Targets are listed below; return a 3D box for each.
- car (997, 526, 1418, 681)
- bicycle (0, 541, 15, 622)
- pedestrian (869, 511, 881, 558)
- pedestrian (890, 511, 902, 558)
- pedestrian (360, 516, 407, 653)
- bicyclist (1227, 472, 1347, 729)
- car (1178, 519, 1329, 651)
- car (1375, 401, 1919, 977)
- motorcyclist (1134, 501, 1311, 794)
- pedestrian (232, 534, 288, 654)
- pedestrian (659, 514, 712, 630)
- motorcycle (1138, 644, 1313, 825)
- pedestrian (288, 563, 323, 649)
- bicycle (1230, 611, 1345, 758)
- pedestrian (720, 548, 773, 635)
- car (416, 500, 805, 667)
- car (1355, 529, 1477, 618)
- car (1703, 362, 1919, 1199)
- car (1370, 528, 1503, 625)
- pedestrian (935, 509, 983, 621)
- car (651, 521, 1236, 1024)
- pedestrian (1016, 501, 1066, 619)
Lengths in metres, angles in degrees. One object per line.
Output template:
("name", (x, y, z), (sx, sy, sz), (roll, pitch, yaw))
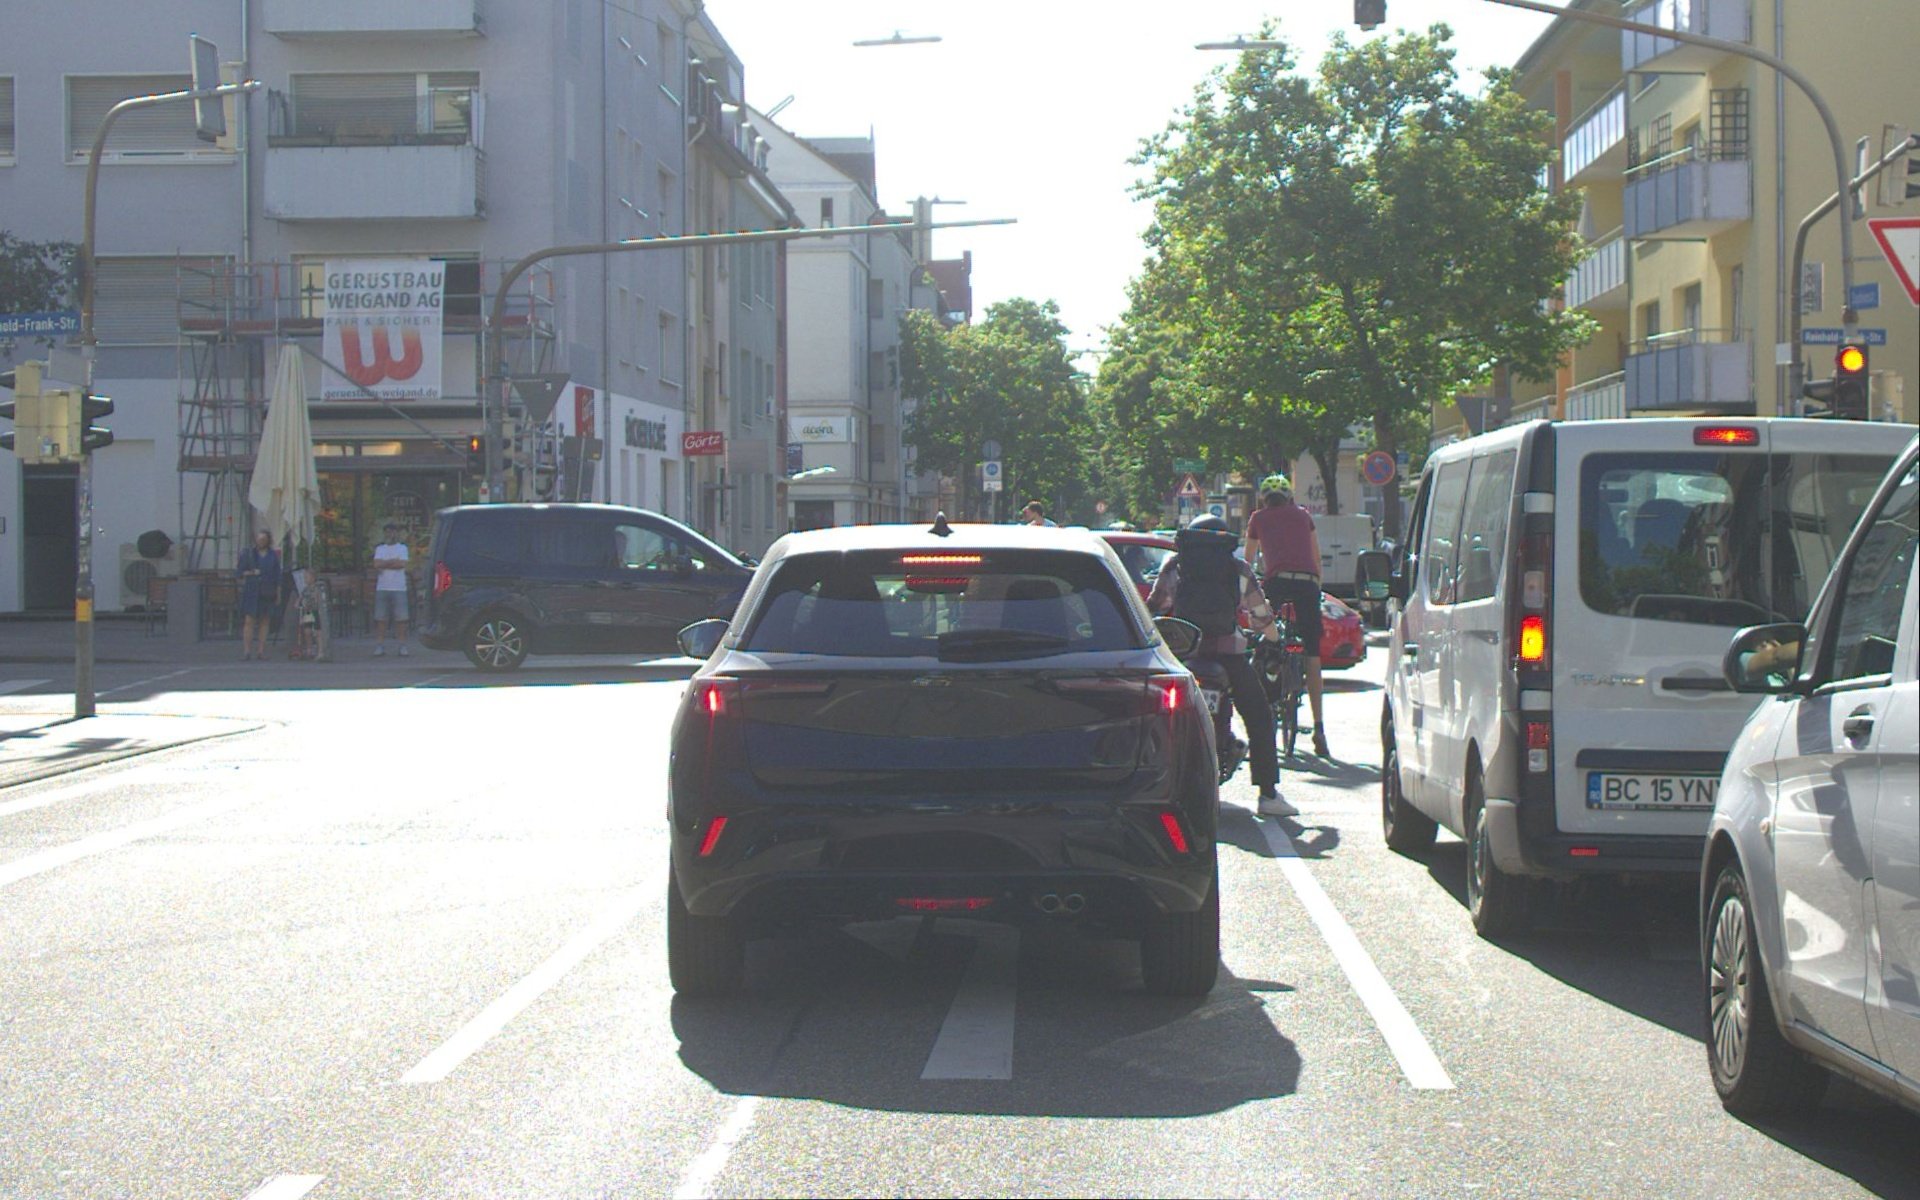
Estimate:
("car", (2.384, 0.012, 33.564), (3.987, 1.459, 1.831), (0, 1, 2))
("bicycle", (-14.804, -0.259, 49.784), (2.094, 1.168, 0.741), (-1, 1, -21))
("pedestrian", (-3.017, -2.349, 122.477), (0.402, 1.669, 0.418), (0, 1, 2))
("pedestrian", (-2.290, -2.324, 122.429), (0.402, 1.669, 0.418), (0, 1, 2))
("pedestrian", (-7.458, -0.204, 44.506), (0.561, 1.769, 0.584), (0, 1, -6))
("bicyclist", (2.226, -0.008, 23.546), (0.689, 1.707, 1.414), (0, 1, 0))
("car", (3.968, -0.243, 46.969), (1.902, 1.722, 4.000), (0, 1, 3))
("car", (2.866, 0.250, 14.238), (1.994, 1.972, 4.895), (0, 1, 4))
("motorcyclist", (1.373, 0.232, 18.172), (0.864, 1.497, 1.160), (0, 1, 1))
("pedestrian", (-8.952, -0.079, 43.969), (0.584, 1.515, 0.649), (0, 1, -1))
("pedestrian", (-3.986, -0.419, 49.975), (0.707, 1.672, 0.802), (0, 1, 0))
("motorcycle", (1.382, 0.686, 18.181), (0.825, 0.842, 1.885), (0, 1, 1))
("pedestrian", (-8.363, 0.069, 43.935), (0.355, 1.088, 0.462), (0, 1, -1))
("bicycle", (2.225, 0.557, 23.574), (0.577, 0.901, 2.301), (0, 1, 0))
("pedestrian", (-3.102, -0.135, 49.954), (0.707, 1.249, 0.802), (0, 1, 0))
("car", (-3.786, -0.202, 37.184), (4.059, 1.722, 1.909), (-1, 1, -7))
("car", (7.616, -0.476, 57.708), (1.634, 1.428, 4.000), (0, 1, 2))
("car", (2.897, 0.456, 6.904), (1.836, 1.862, 4.996), (1, 1, 2))
("car", (7.303, -0.391, 52.932), (1.634, 1.428, 3.956), (0, 1, 2))
("pedestrian", (-0.016, -0.505, 49.708), (0.680, 1.600, 0.762), (0, 1, 0))
("car", (-0.046, 0.480, 12.430), (1.770, 1.525, 4.000), (0, 1, 0))
("pedestrian", (1.168, -0.584, 49.691), (0.707, 1.695, 0.802), (0, 1, 0))
